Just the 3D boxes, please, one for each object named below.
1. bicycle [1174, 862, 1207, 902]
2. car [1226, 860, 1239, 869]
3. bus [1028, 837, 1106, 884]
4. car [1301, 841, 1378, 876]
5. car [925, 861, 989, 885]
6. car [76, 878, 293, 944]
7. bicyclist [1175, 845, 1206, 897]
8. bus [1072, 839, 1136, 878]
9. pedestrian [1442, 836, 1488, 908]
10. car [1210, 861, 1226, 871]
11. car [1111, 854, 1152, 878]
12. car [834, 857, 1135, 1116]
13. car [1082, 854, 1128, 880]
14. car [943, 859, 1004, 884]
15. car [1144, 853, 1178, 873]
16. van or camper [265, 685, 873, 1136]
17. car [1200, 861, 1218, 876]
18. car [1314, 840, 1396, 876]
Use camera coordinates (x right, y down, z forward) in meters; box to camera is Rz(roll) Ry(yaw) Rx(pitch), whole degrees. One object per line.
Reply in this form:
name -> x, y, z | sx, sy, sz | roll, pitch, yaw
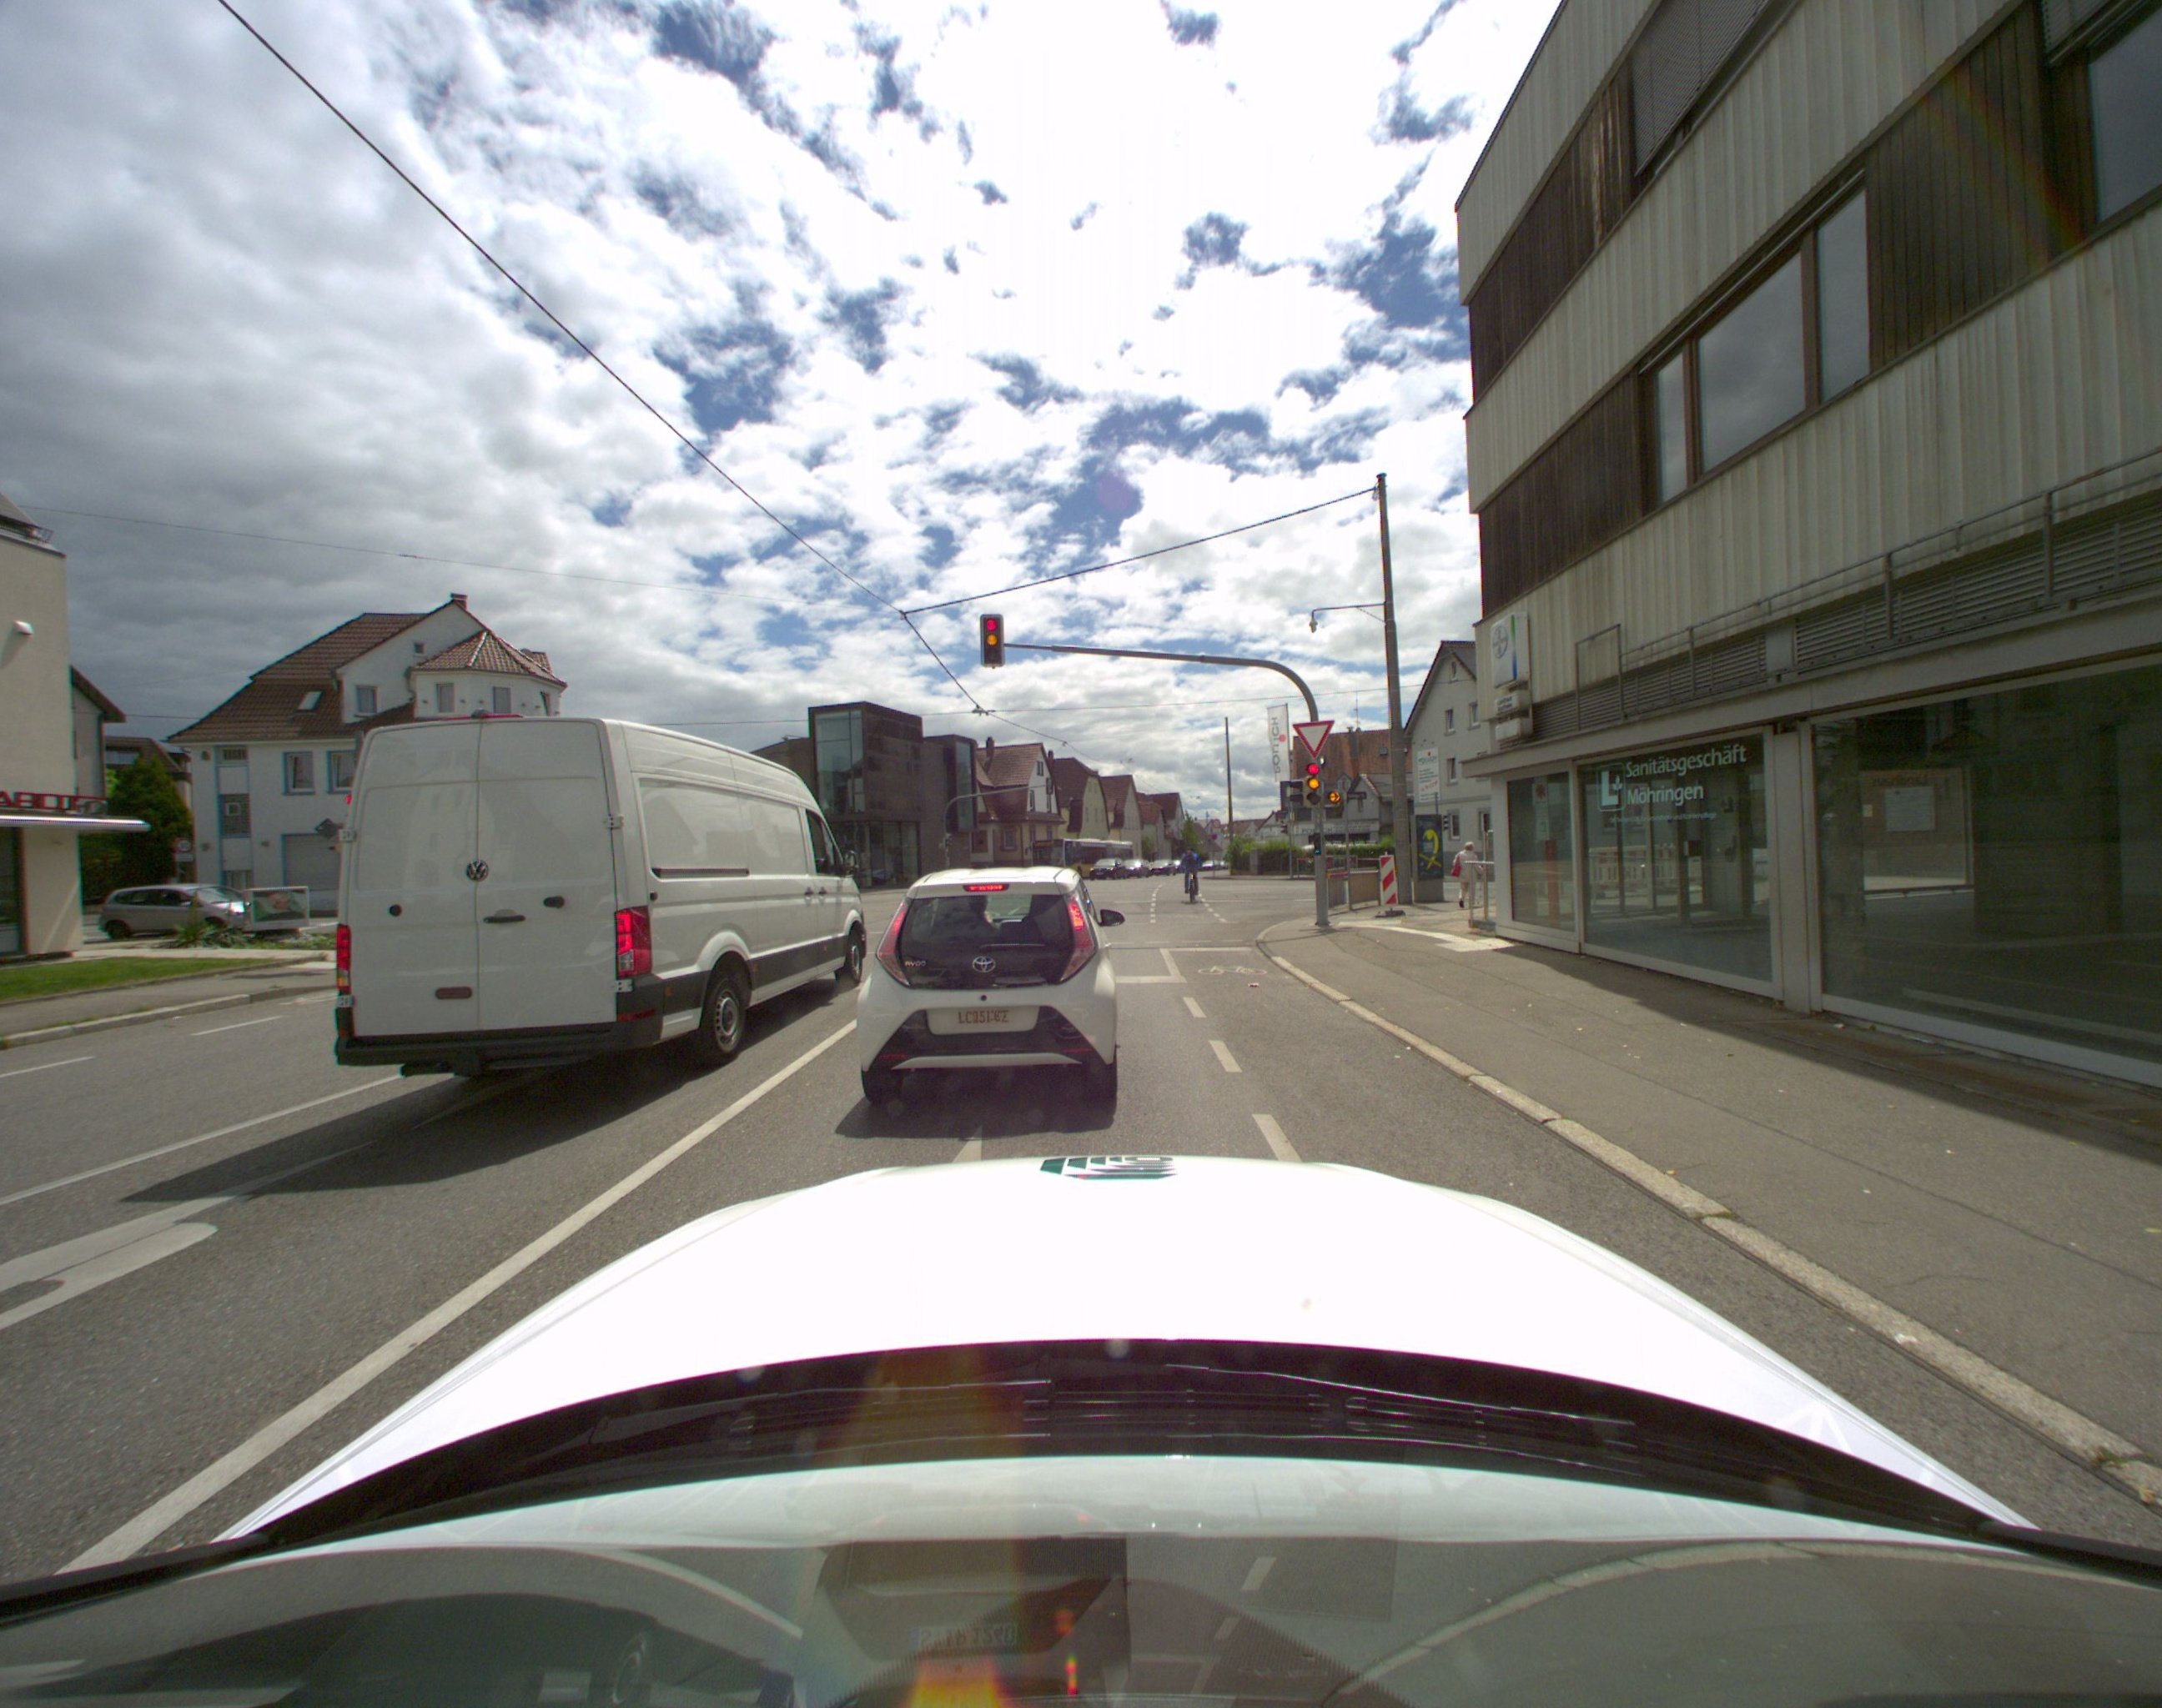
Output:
bicycle -> 3.490, 0.867, 26.121 | 0.829, 1.164, 2.193 | 1, 1, 2
car -> 30.175, 2.146, 161.906 | 1.977, 1.640, 4.020 | -1, 0, 19
bus -> -0.807, 0.392, 58.303 | 2.756, 3.060, 9.233 | -1, 0, 17
car -> 15.579, 0.263, 49.236 | 3.983, 2.013, 1.995 | -1, 0, -7
car -> -8.752, 1.349, 57.728 | 3.957, 1.640, 2.008 | 0, 0, 15
car -> -26.558, 1.646, 24.268 | 3.981, 1.684, 1.996 | -2, 0, -6
bicyclist -> 3.498, 0.531, 26.013 | 0.837, 1.614, 1.083 | 1, 0, 1
bus -> 2.046, 0.309, 67.179 | 2.756, 2.914, 9.233 | -1, 0, 17
pedestrian -> 8.962, 0.413, 19.033 | 0.827, 1.637, 0.878 | -2, 0, 18
car -> 23.305, 1.997, 138.631 | 1.977, 1.640, 4.020 | -1, 0, 19
car -> 3.811, 0.881, 60.496 | 1.977, 1.640, 4.204 | -1, 0, 19
car -> -0.571, 0.782, 6.565 | 1.733, 1.460, 3.531 | -2, 0, 0
car -> 1.653, 0.884, 55.393 | 1.977, 1.640, 4.020 | -1, 0, 19
car -> -7.998, 1.308, 60.626 | 3.957, 1.684, 2.008 | -3, -1, 15
car -> 7.033, 0.779, 71.280 | 1.977, 1.640, 4.020 | -1, 0, 19
van or camper -> -3.779, 0.327, 7.703 | 2.101, 2.586, 5.643 | -3, 0, -1
car -> 17.794, 1.994, 113.206 | 1.979, 2.013, 4.016 | -1, 0, 15
car -> 15.674, 0.214, 46.659 | 3.984, 1.948, 1.995 | -1, -1, -8
